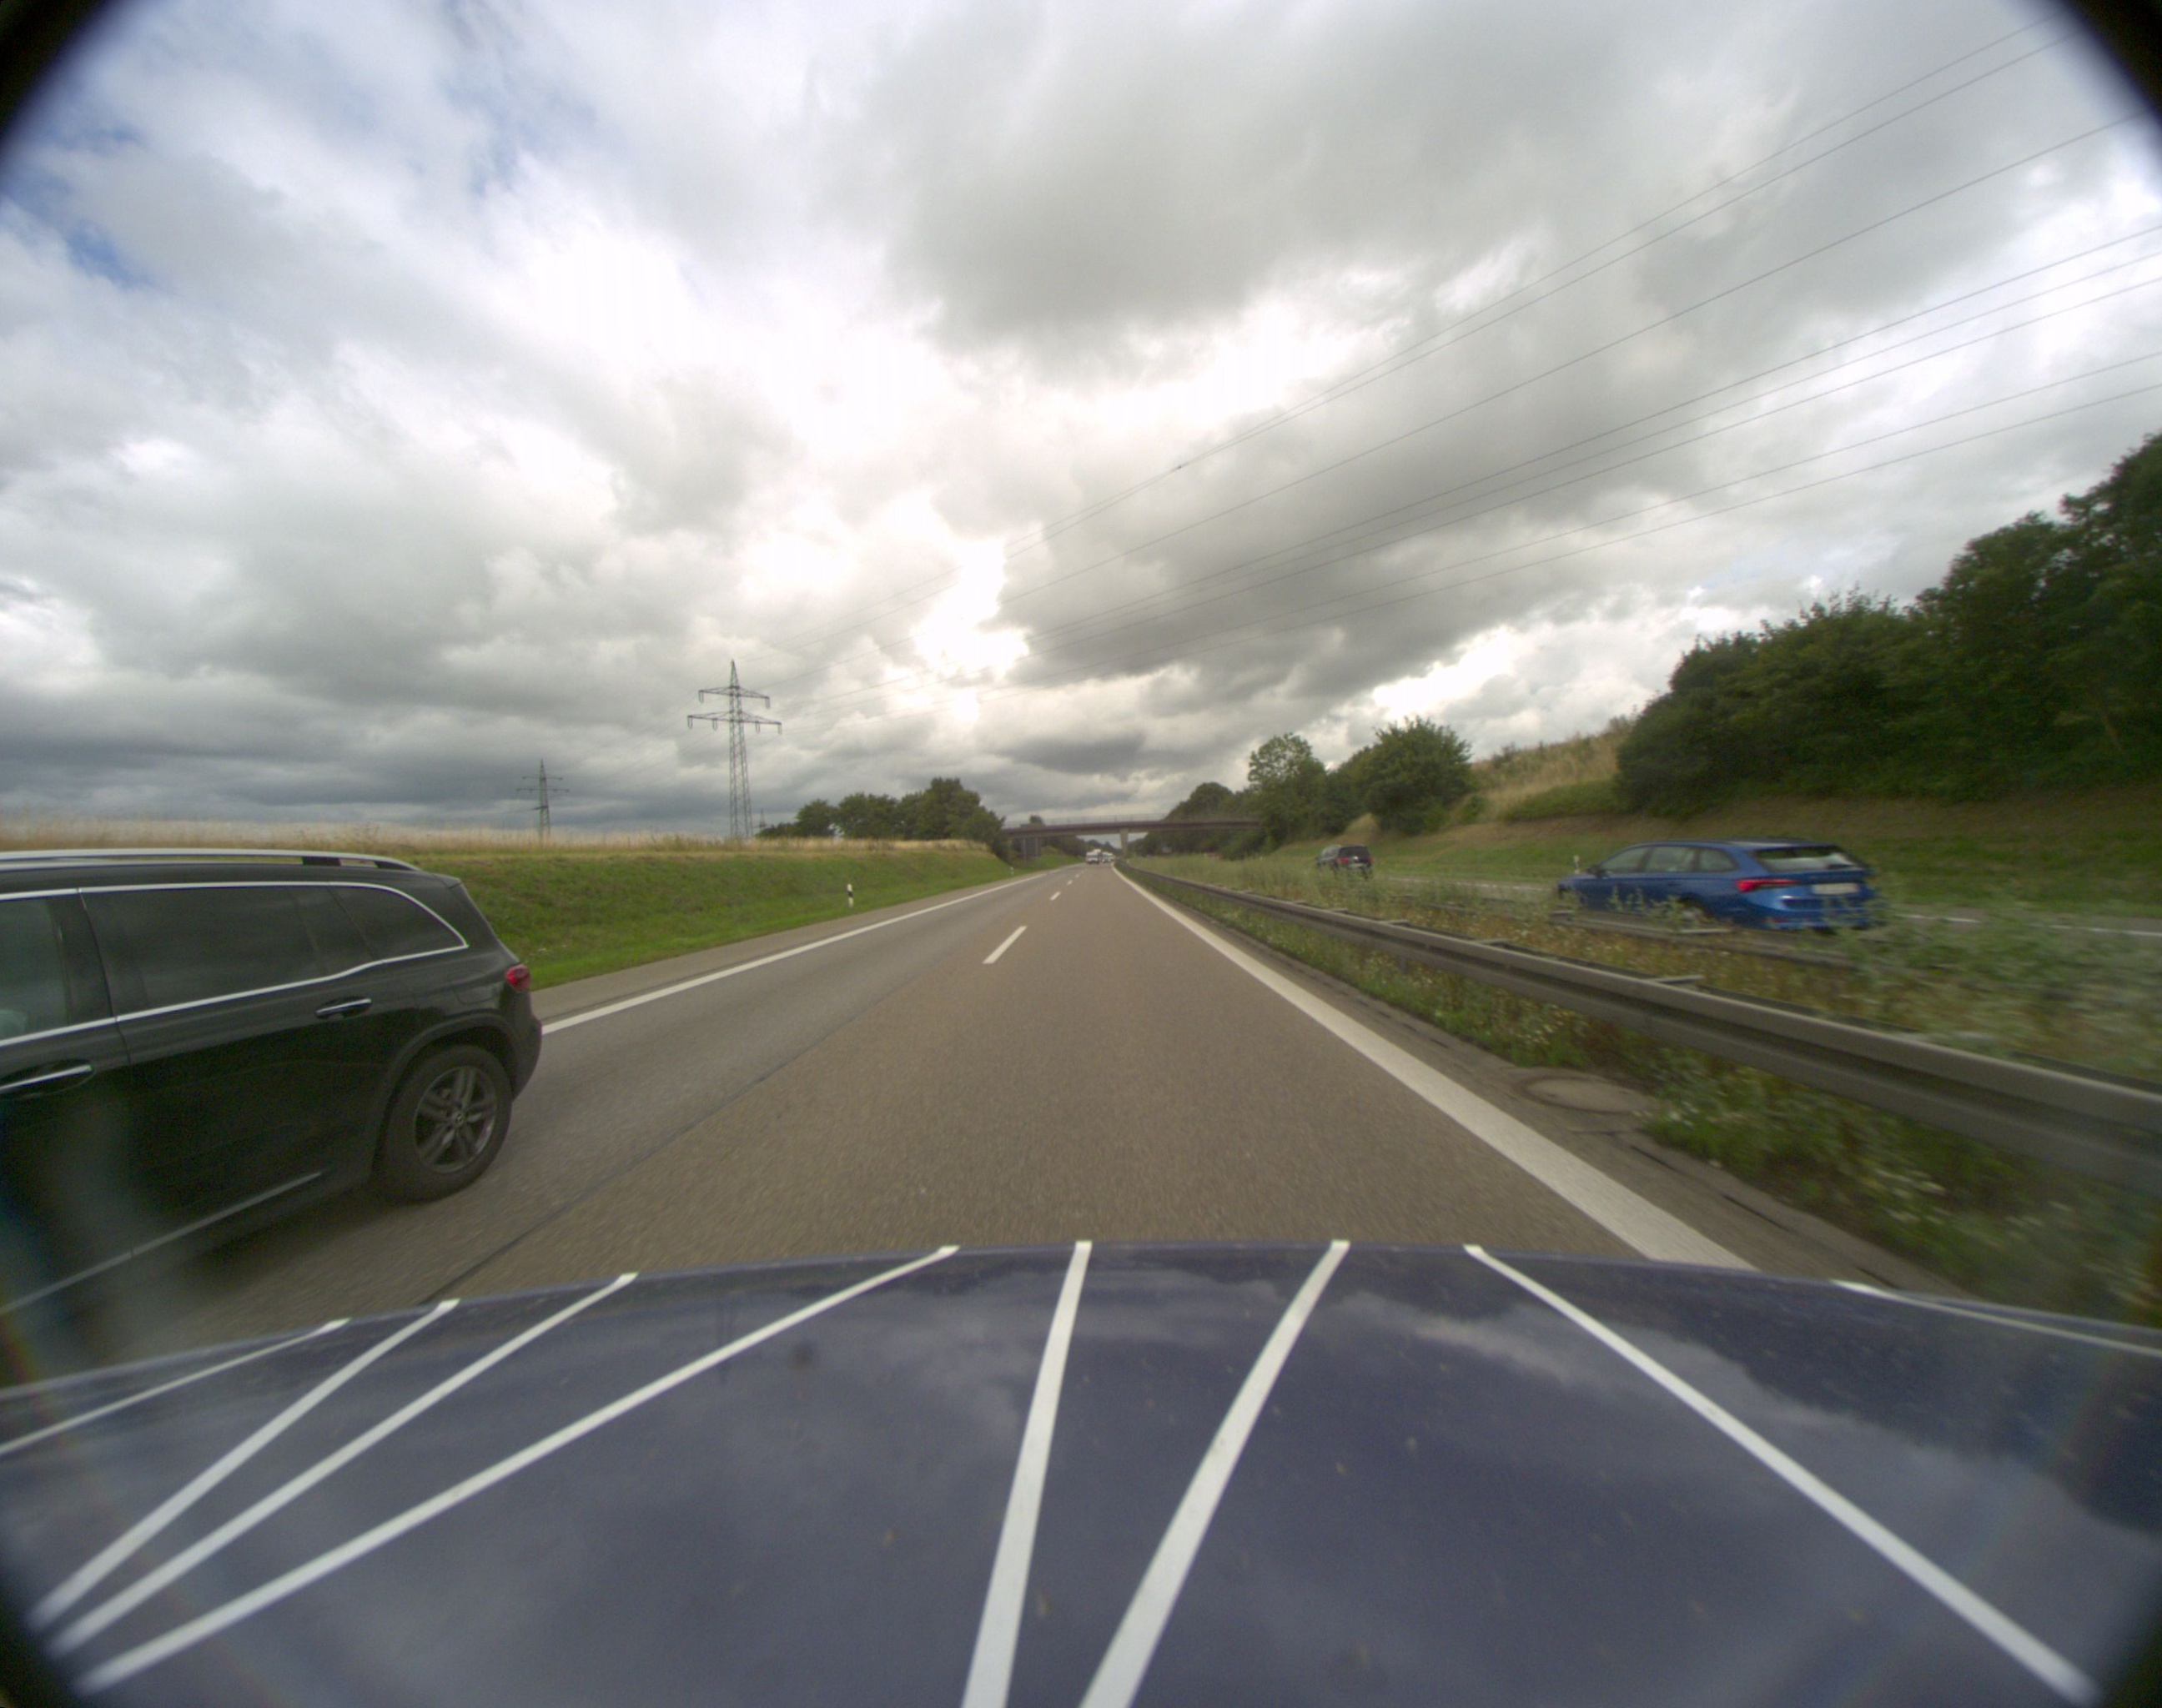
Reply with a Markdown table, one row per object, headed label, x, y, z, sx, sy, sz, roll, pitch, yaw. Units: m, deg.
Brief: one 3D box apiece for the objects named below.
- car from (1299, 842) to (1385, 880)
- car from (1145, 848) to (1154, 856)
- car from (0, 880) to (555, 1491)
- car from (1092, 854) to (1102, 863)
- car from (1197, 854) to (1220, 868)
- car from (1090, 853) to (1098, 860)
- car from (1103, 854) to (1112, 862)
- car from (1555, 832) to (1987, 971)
| label | x | y | z | sx | sy | sz | roll | pitch | yaw |
| --- | --- | --- | --- | --- | --- | --- | --- | --- | --- |
| car | 12.152 | 0.295 | 35.835 | 1.933 | 1.566 | 5.620 | -3 | 1 | -1 |
| car | 17.595 | -0.528 | 195.981 | 1.998 | 2.002 | 4.000 | -3 | 1 | 2 |
| car | -3.939 | 0.994 | 2.087 | 1.838 | 1.600 | 4.360 | -2 | 1 | 1 |
| car | 3.353 | 0.879 | 160.277 | 1.999 | 1.812 | 4.342 | -2 | 0 | 0 |
| car | 13.908 | 0.748 | 82.965 | 1.751 | 1.444 | 3.999 | -3 | 1 | 0 |
| car | 3.395 | 0.610 | 196.988 | 1.833 | 1.849 | 5.790 | -1 | 0 | 0 |
| car | 6.482 | 1.049 | 187.042 | 1.998 | 1.695 | 4.662 | -4 | -1 | 0 |
| car | 8.988 | 0.504 | 10.591 | 1.998 | 1.448 | 4.443 | -3 | 1 | 1 |
